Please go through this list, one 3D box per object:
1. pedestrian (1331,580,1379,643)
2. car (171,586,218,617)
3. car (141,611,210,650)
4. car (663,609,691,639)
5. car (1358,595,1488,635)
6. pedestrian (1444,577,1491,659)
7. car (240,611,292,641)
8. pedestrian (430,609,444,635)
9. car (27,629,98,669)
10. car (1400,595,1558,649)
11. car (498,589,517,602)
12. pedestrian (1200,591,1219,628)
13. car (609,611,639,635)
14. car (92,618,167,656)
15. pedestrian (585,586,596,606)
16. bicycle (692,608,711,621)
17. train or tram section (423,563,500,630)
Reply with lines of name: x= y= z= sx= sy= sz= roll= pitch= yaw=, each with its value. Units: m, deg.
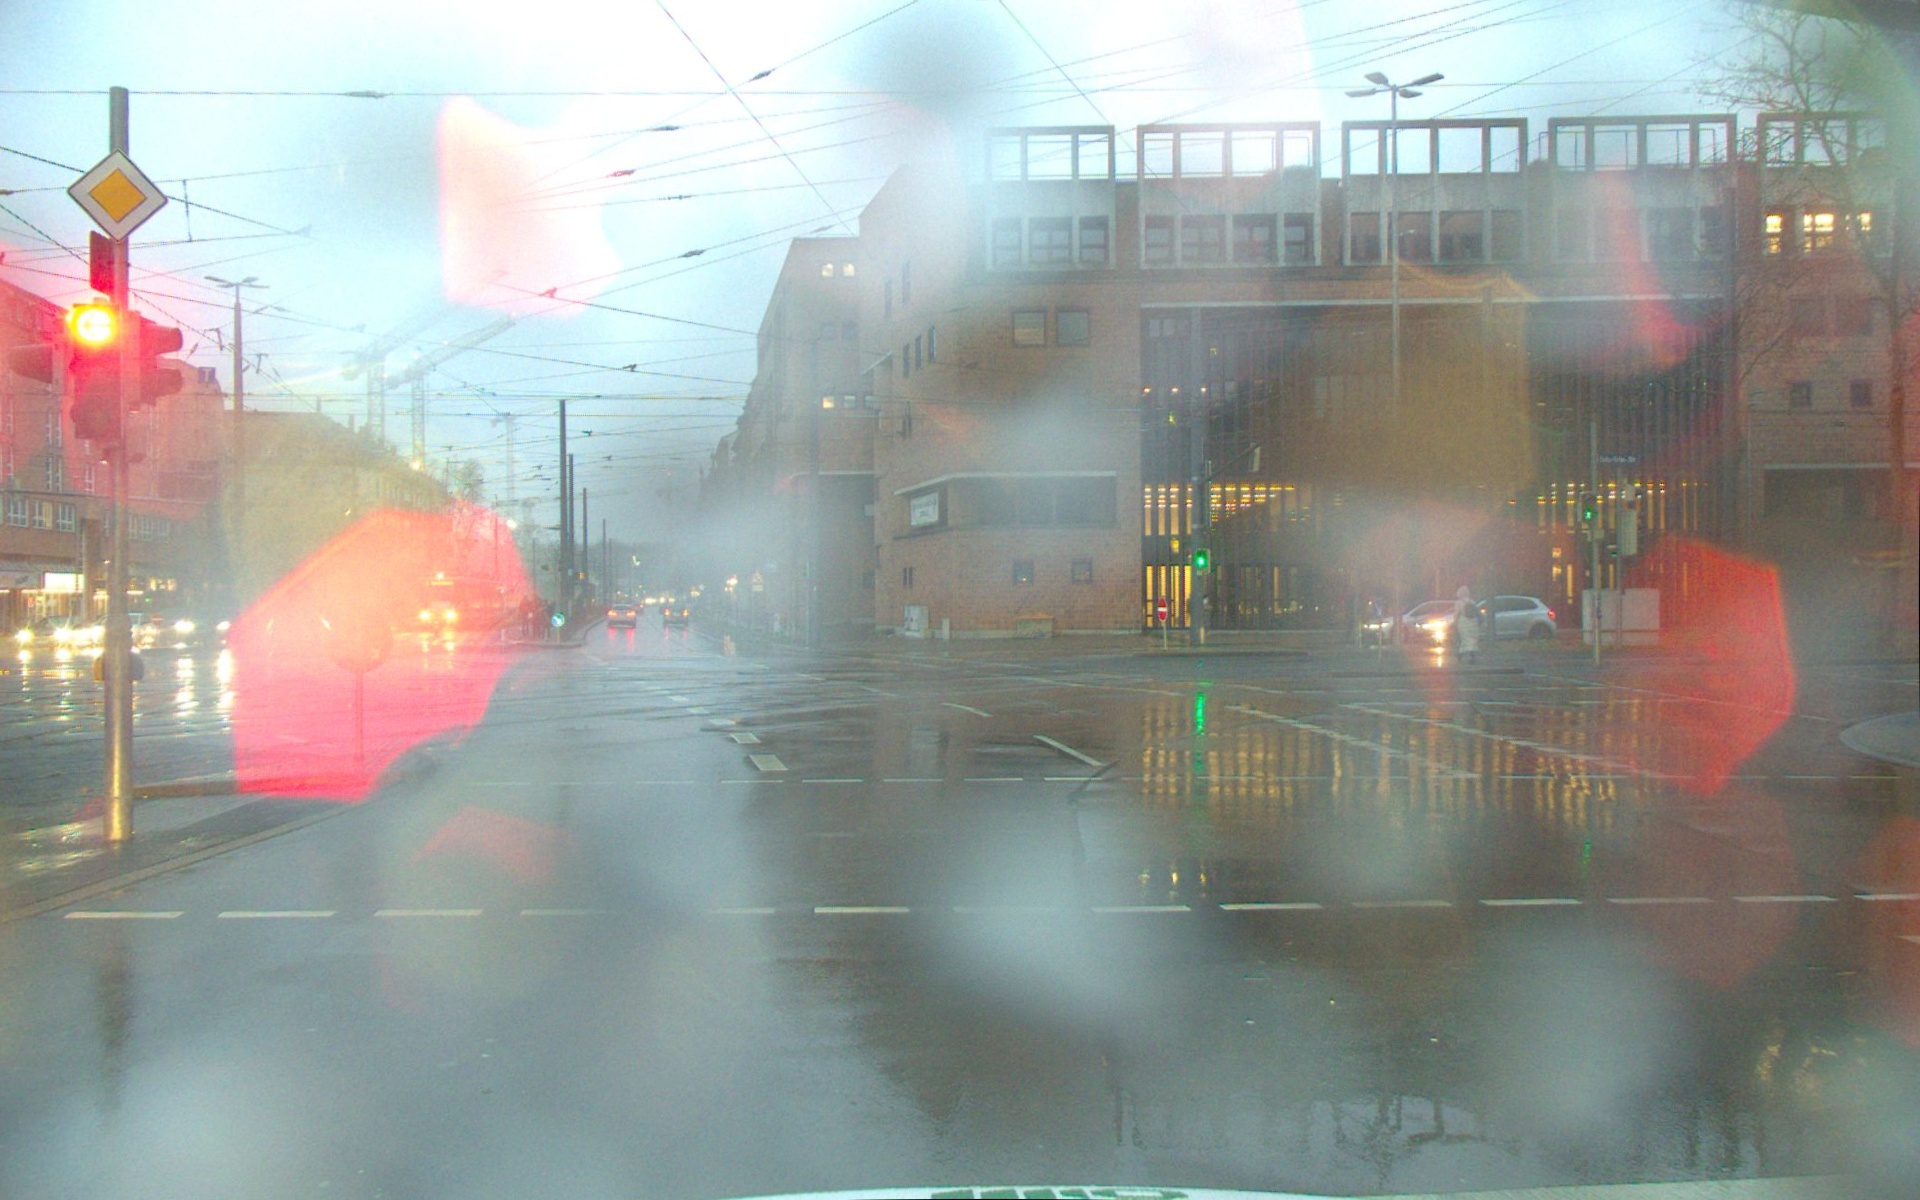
pedestrian: x=11.530 y=0.328 z=48.304 sx=1.128 sy=1.818 sz=0.775 roll=-1 pitch=0 yaw=-10
car: x=-52.265 y=0.082 z=112.992 sx=1.958 sy=2.049 sz=3.989 roll=1 pitch=0 yaw=-11
car: x=-36.669 y=1.392 z=77.426 sx=1.796 sy=1.739 sz=4.692 roll=0 pitch=0 yaw=-11
car: x=-20.637 y=1.743 z=120.583 sx=1.957 sy=2.049 sz=3.991 roll=-1 pitch=0 yaw=-9
car: x=15.913 y=0.491 z=56.911 sx=3.908 sy=1.333 sz=1.810 roll=0 pitch=0 yaw=-9
pedestrian: x=11.379 y=0.397 z=37.098 sx=0.721 sy=1.818 sz=0.732 roll=-1 pitch=0 yaw=-14
car: x=-33.433 y=1.239 z=79.800 sx=1.652 sy=1.378 sz=3.535 roll=1 pitch=0 yaw=-12
pedestrian: x=-24.477 y=1.028 z=77.410 sx=0.569 sy=1.173 sz=0.489 roll=1 pitch=-1 yaw=-10
car: x=-37.790 y=2.043 z=69.732 sx=1.553 sy=1.521 sz=3.587 roll=-1 pitch=0 yaw=-10
car: x=14.928 y=0.630 z=47.655 sx=3.907 sy=1.364 sz=1.811 roll=-2 pitch=0 yaw=-9
car: x=-48.011 y=-0.476 z=175.525 sx=1.652 sy=1.378 sz=3.535 roll=1 pitch=0 yaw=-12
pedestrian: x=9.612 y=0.371 z=63.714 sx=0.721 sy=1.413 sz=0.738 roll=-1 pitch=0 yaw=10
car: x=-21.978 y=1.488 z=108.187 sx=1.751 sy=1.492 sz=3.142 roll=-1 pitch=0 yaw=-9
car: x=-35.082 y=1.543 z=69.962 sx=1.638 sy=1.521 sz=4.191 roll=-1 pitch=0 yaw=-10
pedestrian: x=-28.521 y=-0.279 z=127.633 sx=0.671 sy=1.542 sz=0.614 roll=0 pitch=0 yaw=-24
bicycle: x=-23.774 y=1.319 z=152.138 sx=1.700 sy=1.073 sz=0.370 roll=-2 pitch=0 yaw=-13
train or tram section: x=-29.095 y=-0.198 z=96.993 sx=2.897 sy=3.652 sz=12.223 roll=1 pitch=0 yaw=-10
